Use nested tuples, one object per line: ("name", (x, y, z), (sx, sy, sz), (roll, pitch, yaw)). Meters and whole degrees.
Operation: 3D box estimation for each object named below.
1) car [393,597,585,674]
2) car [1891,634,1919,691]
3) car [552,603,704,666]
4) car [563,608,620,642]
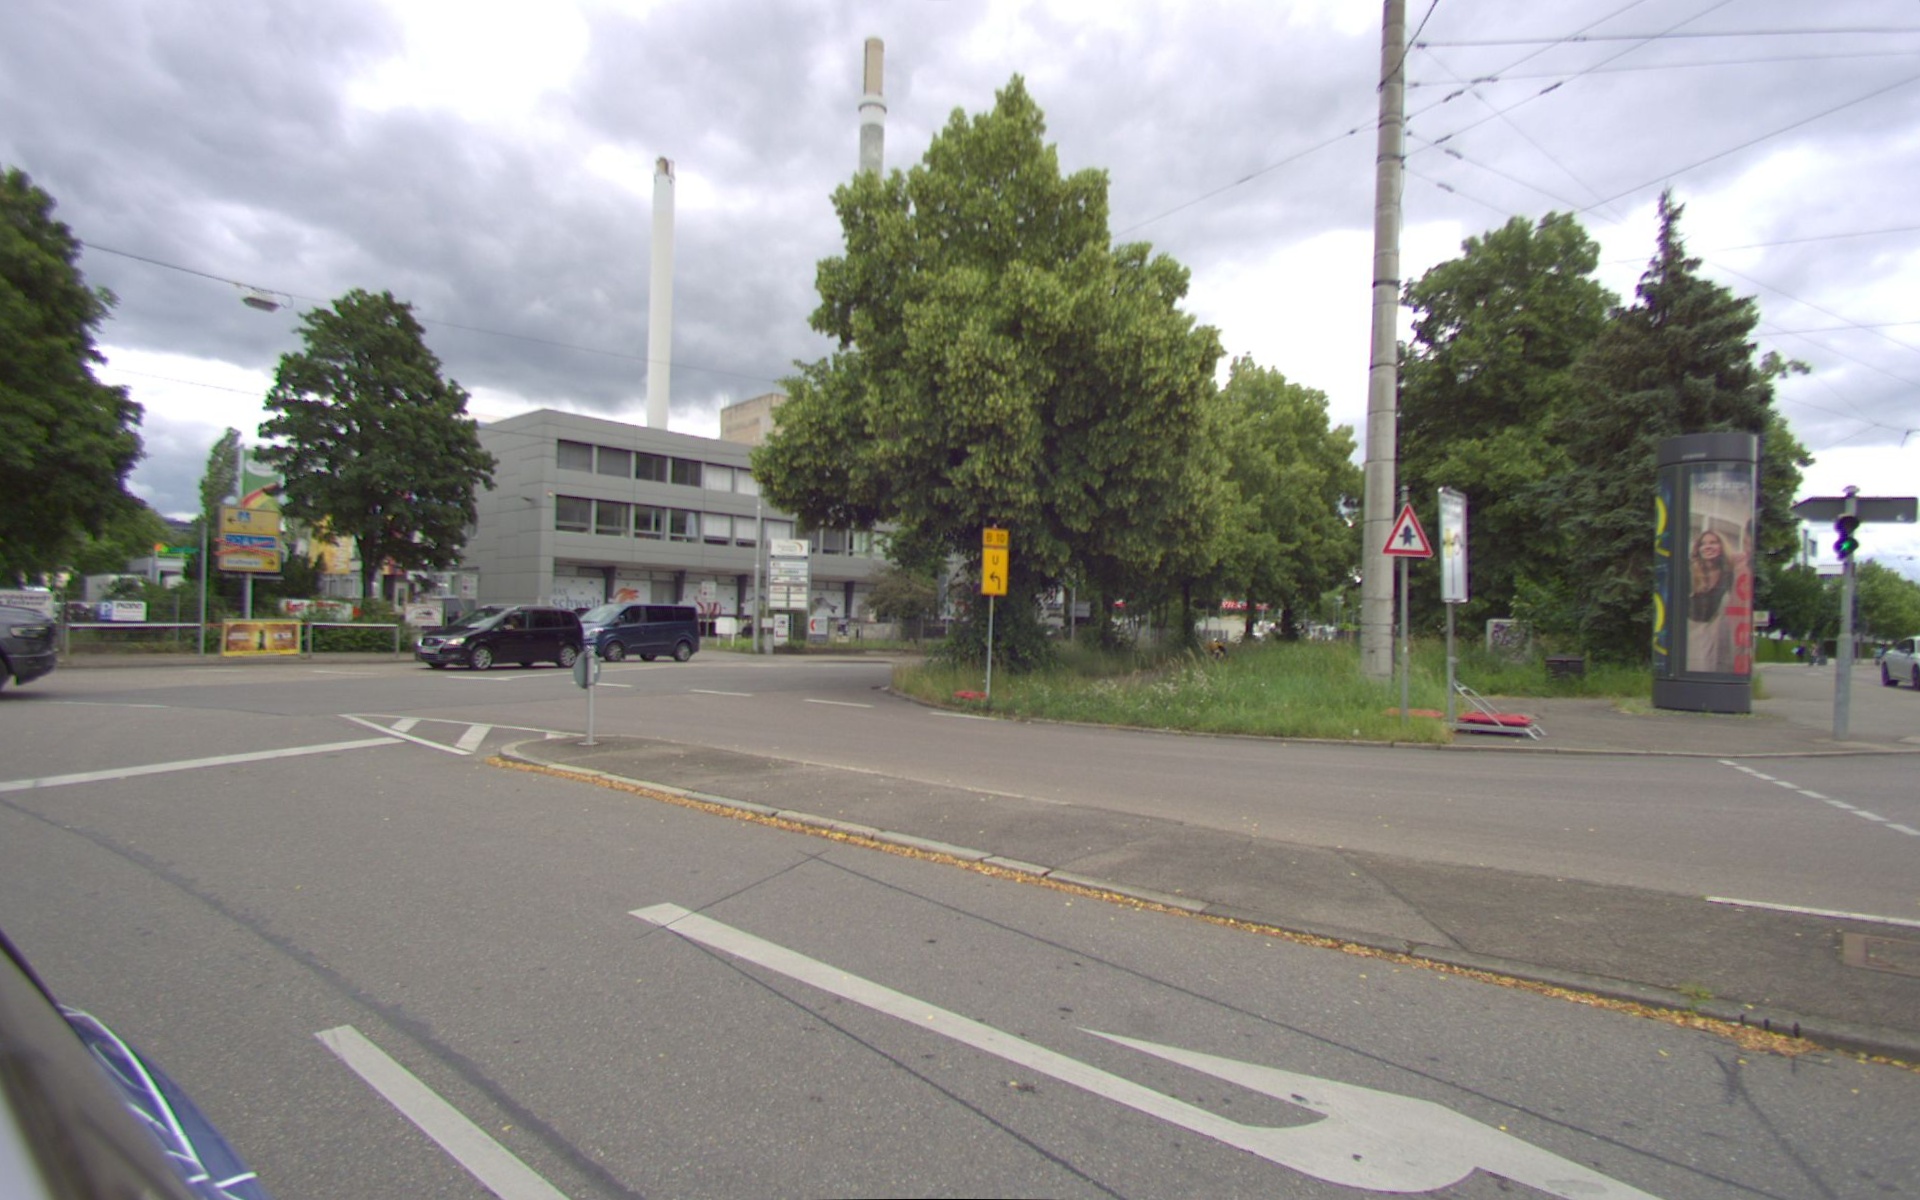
("car", (-11.881, 0.958, 25.848), (1.823, 1.785, 4.192), (0, -4, 26))
("car", (25.106, 1.584, 25.403), (1.743, 1.437, 4.120), (-1, -2, 31))
("car", (-11.062, 1.145, 34.064), (1.828, 1.960, 4.747), (0, -2, 34))
("car", (-20.489, 1.362, 56.250), (1.751, 1.691, 3.577), (-2, 3, -43))
